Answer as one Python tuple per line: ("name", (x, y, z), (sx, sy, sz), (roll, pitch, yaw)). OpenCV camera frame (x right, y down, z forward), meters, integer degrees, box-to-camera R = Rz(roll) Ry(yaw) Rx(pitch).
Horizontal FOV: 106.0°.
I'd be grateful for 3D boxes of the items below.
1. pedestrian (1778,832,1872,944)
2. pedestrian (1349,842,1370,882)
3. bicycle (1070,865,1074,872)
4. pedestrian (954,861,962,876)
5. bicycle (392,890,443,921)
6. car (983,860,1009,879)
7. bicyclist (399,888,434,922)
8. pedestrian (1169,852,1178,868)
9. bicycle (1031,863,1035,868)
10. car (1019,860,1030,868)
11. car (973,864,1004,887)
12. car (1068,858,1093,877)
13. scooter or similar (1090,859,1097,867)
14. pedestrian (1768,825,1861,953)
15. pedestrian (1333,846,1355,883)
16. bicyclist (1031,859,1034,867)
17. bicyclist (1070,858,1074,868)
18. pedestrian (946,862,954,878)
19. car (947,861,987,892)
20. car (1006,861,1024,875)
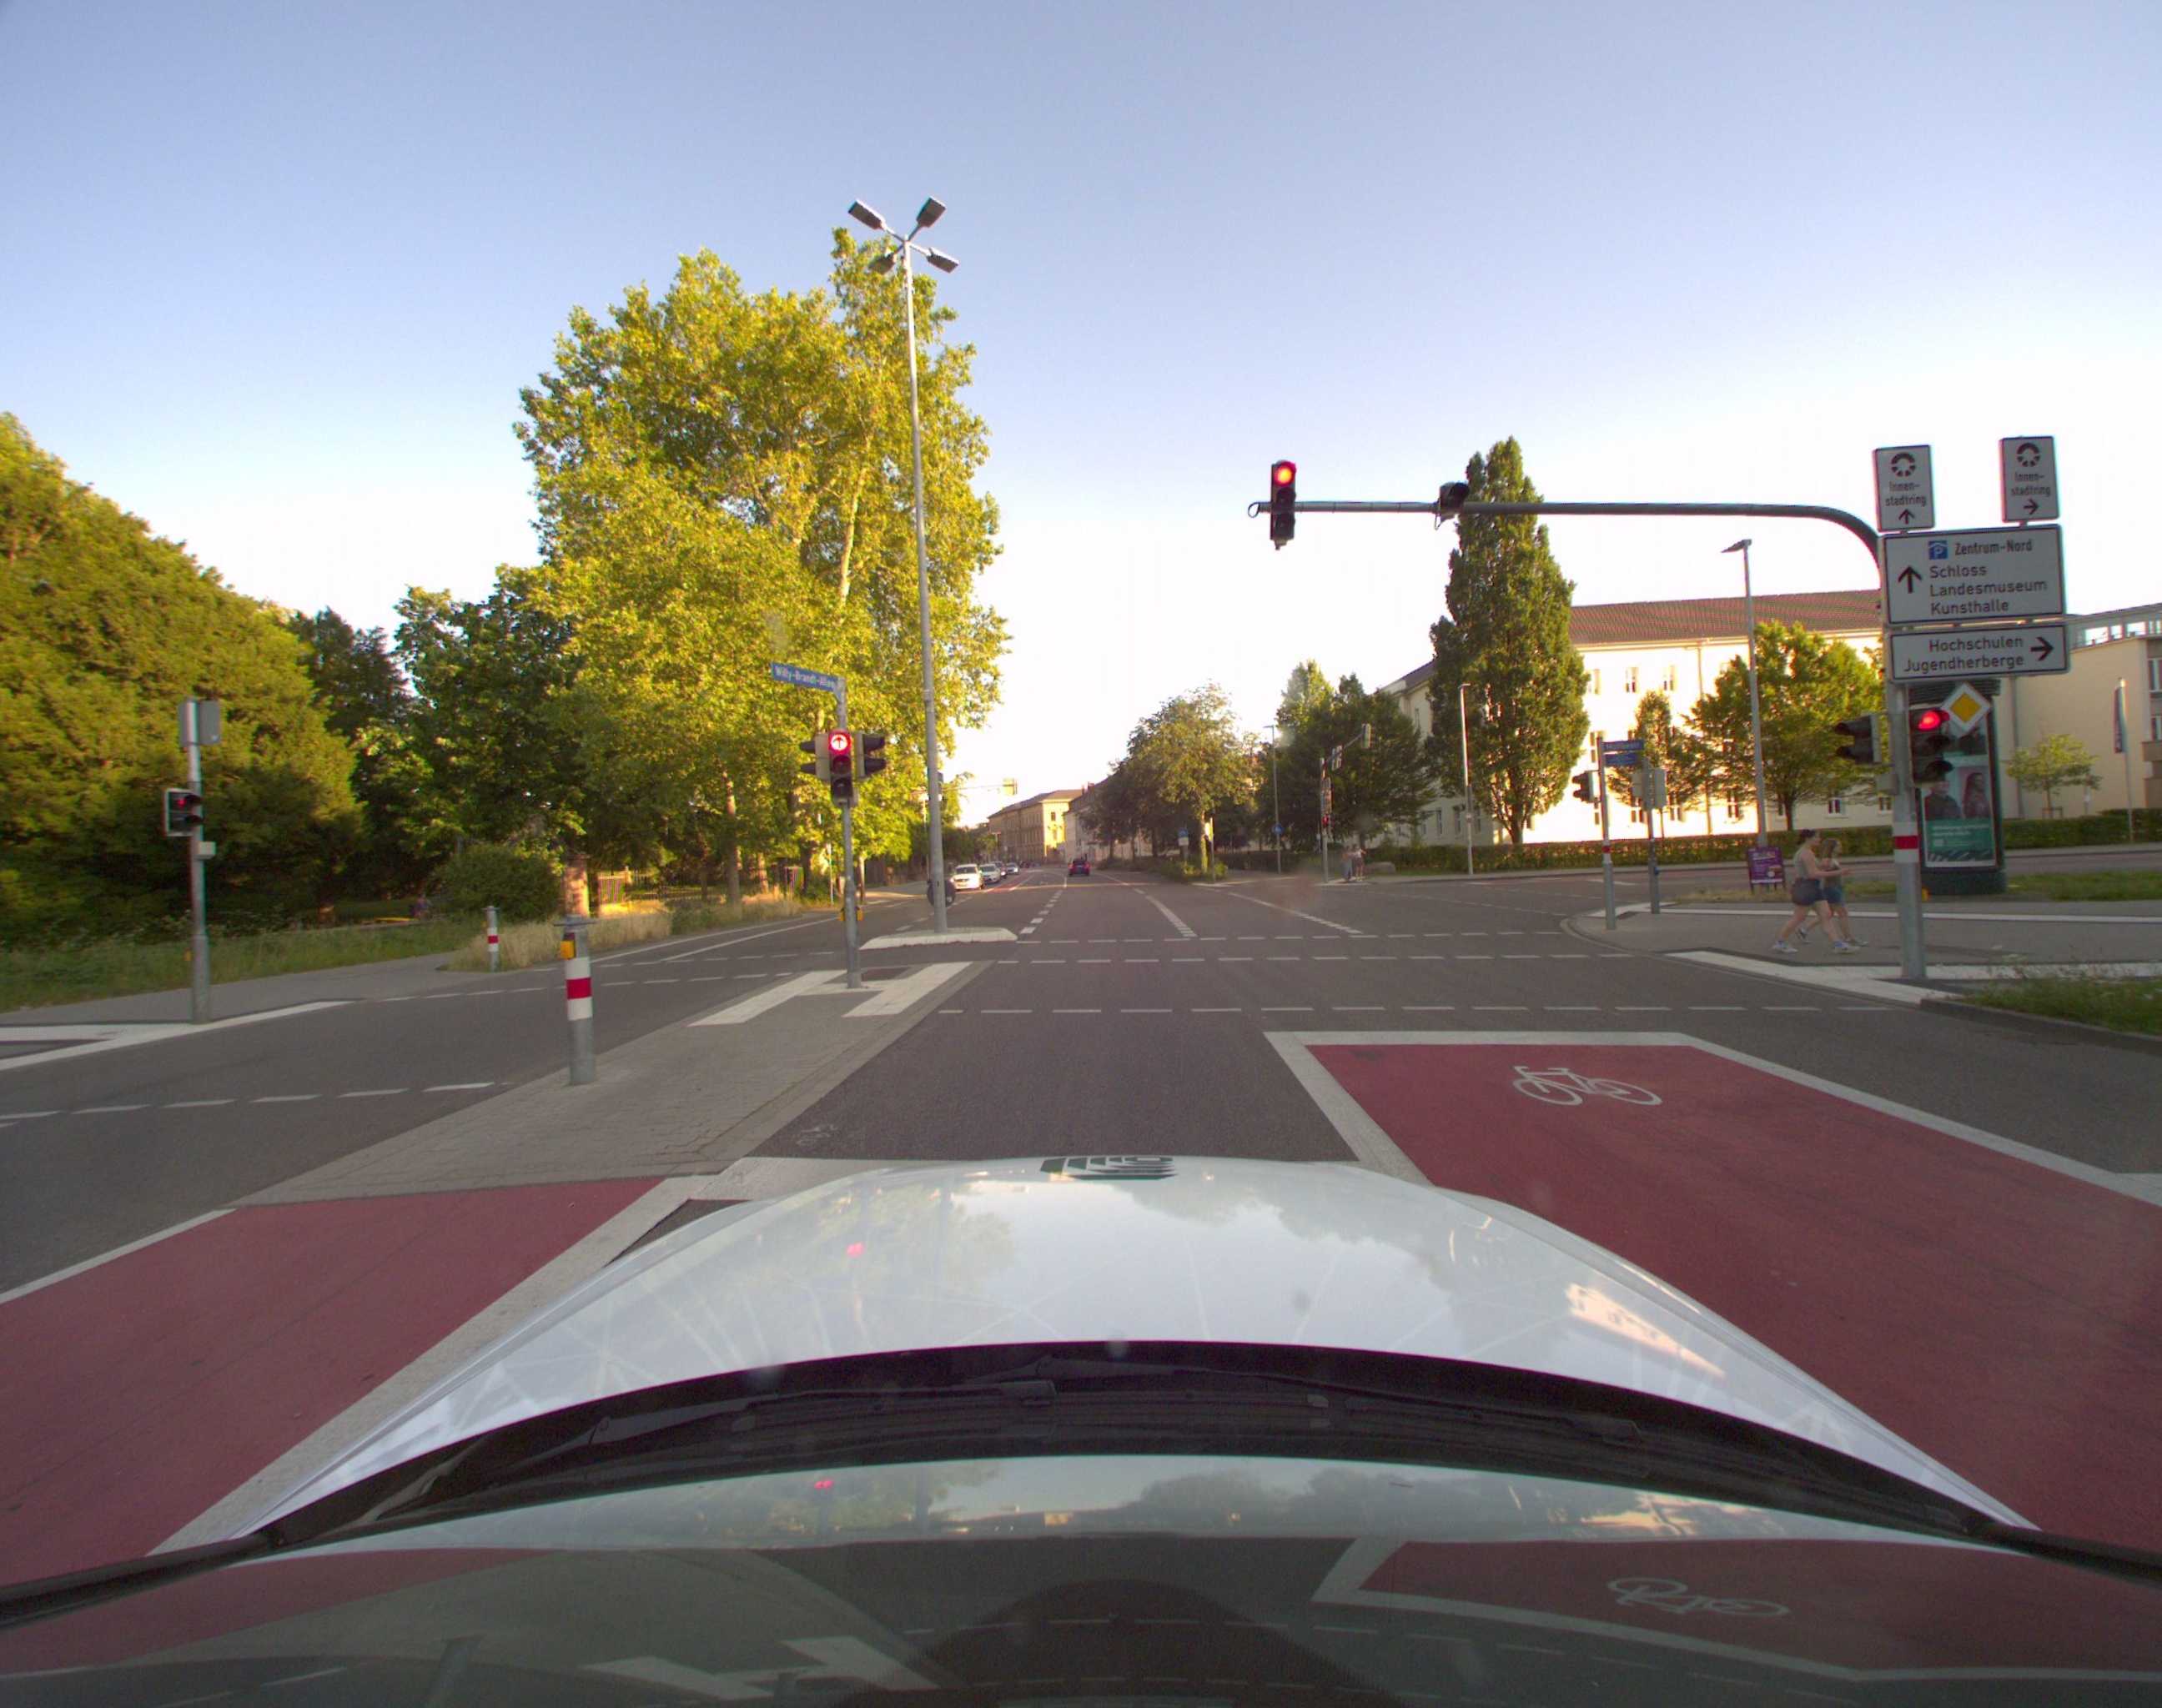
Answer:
("pedestrian", (10.616, 0.476, 11.650), (0.779, 1.523, 0.742), (-3, -1, 28))
("pedestrian", (12.561, 0.333, 36.725), (0.678, 1.754, 0.689), (-3, 0, 1))
("bicycle", (-1.266, 2.063, 115.447), (0.650, 1.015, 2.197), (0, -1, 0))
("pedestrian", (-13.467, 1.613, 89.089), (0.678, 1.622, 0.689), (-3, 0, 1))
("bicycle", (-29.053, 2.246, 35.637), (1.957, 1.256, 0.796), (-3, -1, 20))
("car", (-7.915, 1.418, 76.224), (1.912, 1.624, 4.635), (-5, 0, -2))
("bicyclist", (-29.086, 2.225, 35.652), (0.882, 1.427, 0.796), (-3, -1, 20))
("pedestrian", (10.027, 0.674, 88.527), (0.769, 1.739, 0.805), (-3, 0, -8))
("bicycle", (-10.478, 2.505, 177.003), (0.651, 1.015, 2.192), (0, -1, -8))
("car", (-11.891, 2.133, 170.594), (1.915, 1.417, 4.756), (-5, 0, -8))
("car", (-7.111, 1.628, 63.148), (1.912, 1.583, 4.670), (-5, 0, -2))
("car", (-0.050, 1.159, 70.972), (1.864, 1.510, 3.994), (-3, 0, -4))
("scooter or similar", (2.257, 1.654, 145.507), (0.630, 1.337, 2.390), (-2, -1, -12))
("pedestrian", (9.896, 0.459, 11.020), (0.766, 1.660, 0.726), (-3, -1, 33))
("pedestrian", (11.857, 0.445, 36.720), (0.678, 1.622, 0.845), (-3, 0, 1))
("bicyclist", (-10.482, 1.994, 177.016), (0.651, 1.698, 0.954), (0, -1, -8))
("bicyclist", (-1.264, 1.274, 115.427), (0.650, 1.446, 0.879), (0, -1, 0))
("pedestrian", (-14.356, 1.746, 89.269), (0.678, 1.622, 0.689), (-3, 0, 1))
("car", (-7.104, 1.399, 51.186), (1.912, 1.695, 4.422), (-5, 0, -2))
("car", (-8.042, 1.703, 100.027), (1.912, 1.417, 4.766), (-5, 0, -2))
